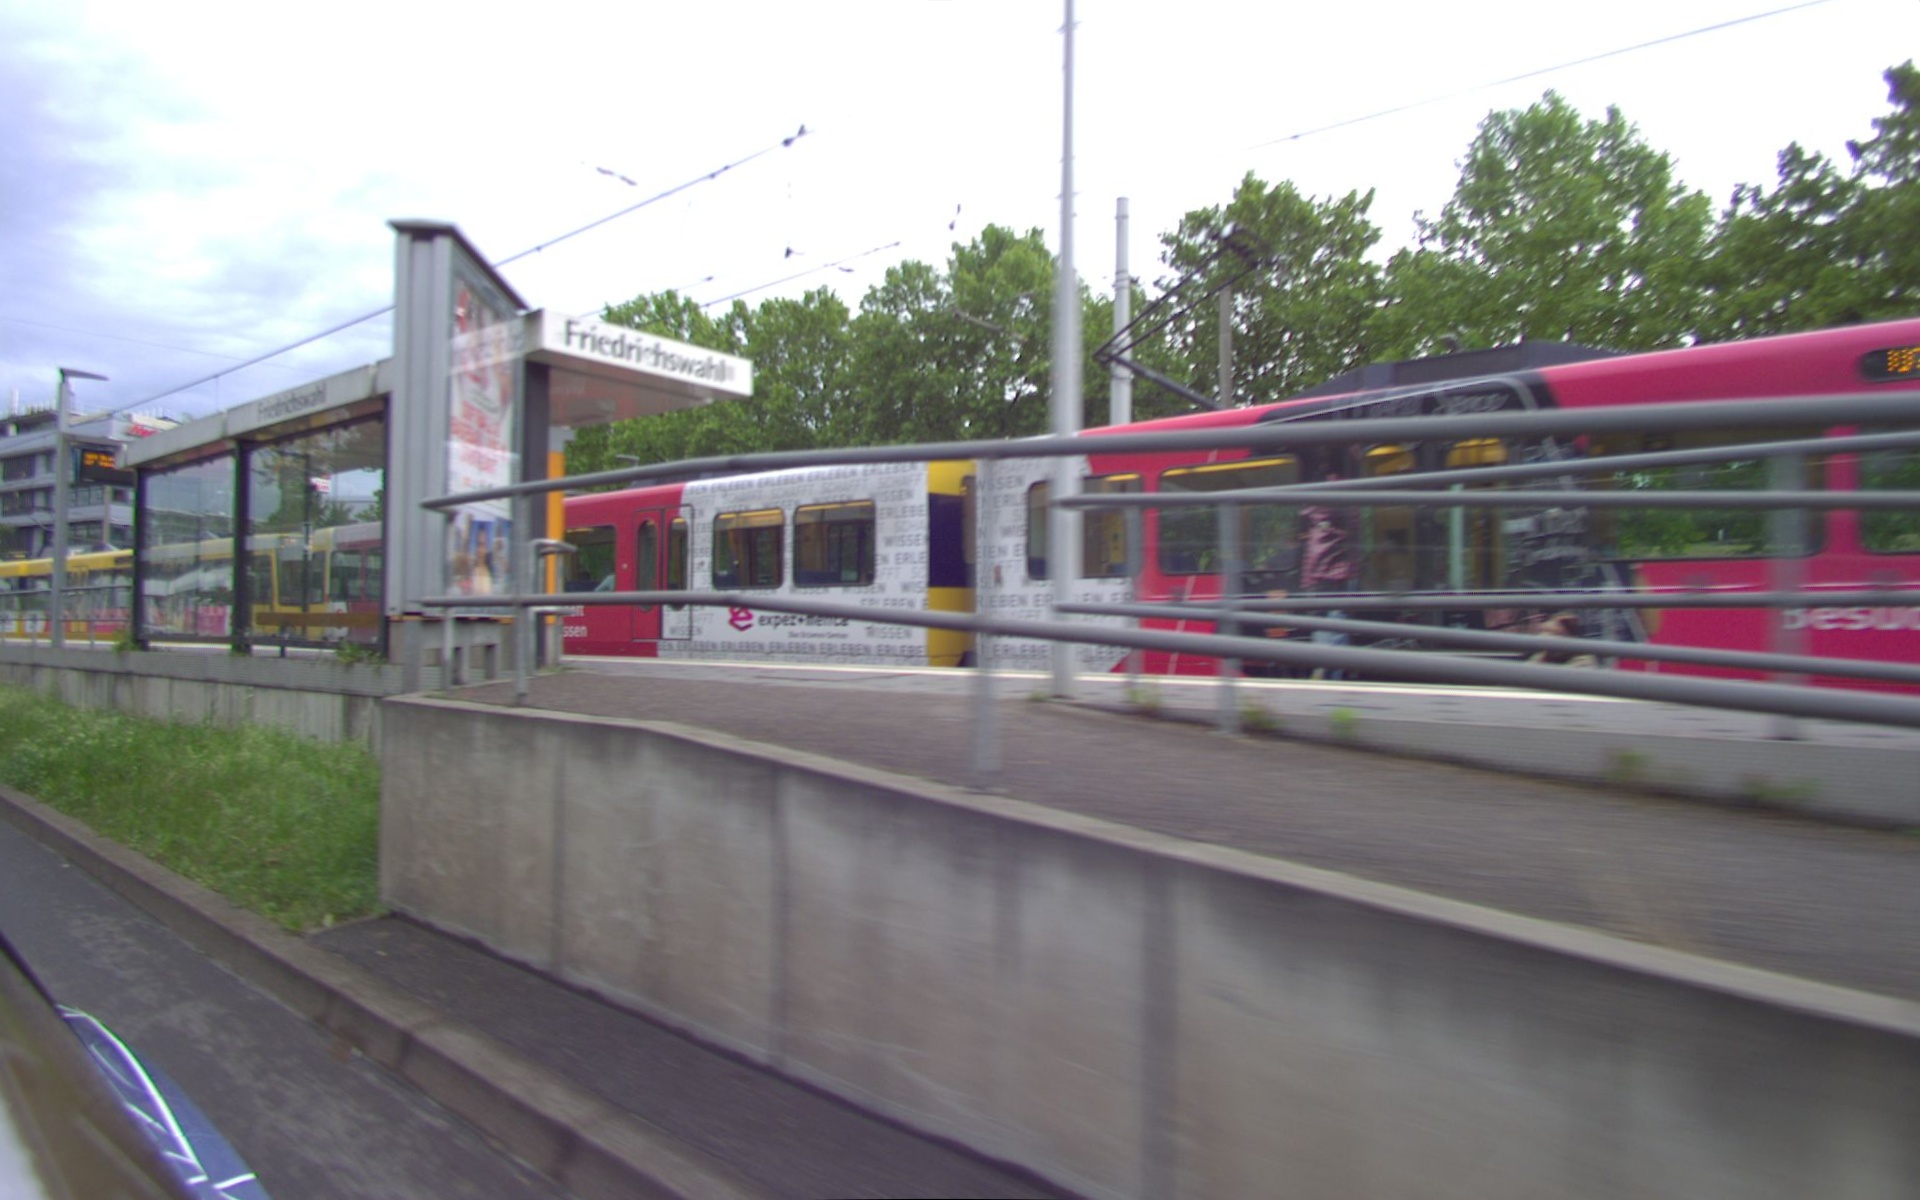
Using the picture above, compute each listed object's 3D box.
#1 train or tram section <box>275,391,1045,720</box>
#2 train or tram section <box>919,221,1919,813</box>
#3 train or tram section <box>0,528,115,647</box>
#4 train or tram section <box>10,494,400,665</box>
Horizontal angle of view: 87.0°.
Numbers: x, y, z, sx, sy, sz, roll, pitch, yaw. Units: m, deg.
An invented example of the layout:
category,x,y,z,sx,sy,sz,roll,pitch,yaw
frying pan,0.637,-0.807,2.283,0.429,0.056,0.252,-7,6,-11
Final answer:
category,x,y,z,sx,sy,sz,roll,pitch,yaw
train or tram section,-7.399,-0.544,19.161,19.292,4.000,2.842,0,1,36
train or tram section,7.935,-0.587,7.466,19.307,3.990,2.840,0,1,39
train or tram section,-39.499,-0.394,40.281,19.260,4.002,2.847,0,1,31
train or tram section,-23.203,-0.478,30.042,19.274,3.983,2.845,0,1,33
